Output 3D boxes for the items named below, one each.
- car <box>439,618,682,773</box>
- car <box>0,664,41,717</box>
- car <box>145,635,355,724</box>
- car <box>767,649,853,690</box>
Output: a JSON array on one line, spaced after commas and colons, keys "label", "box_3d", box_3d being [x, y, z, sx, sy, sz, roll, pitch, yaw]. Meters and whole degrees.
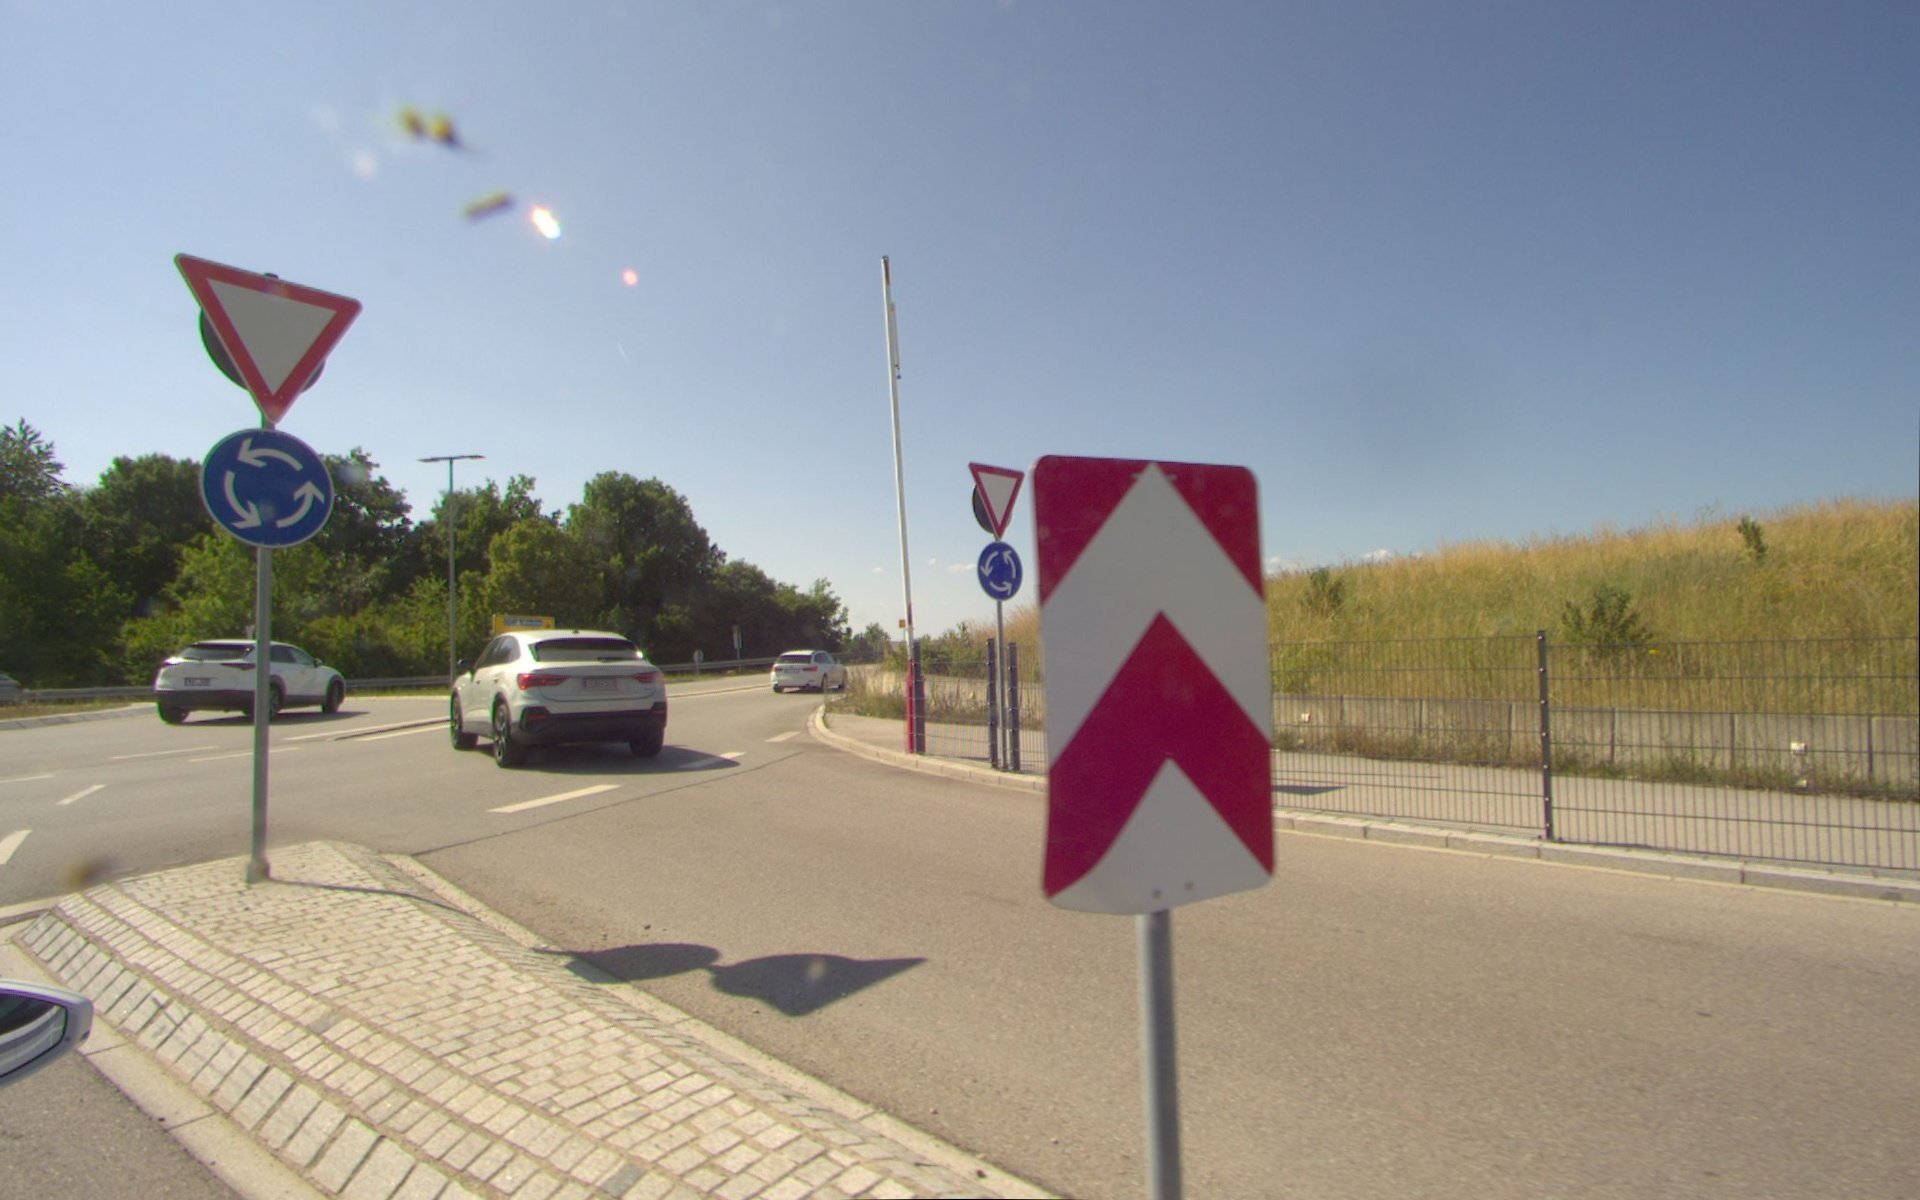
[{"label": "car", "box_3d": [-5.229, 1.085, 12.758, 1.825, 1.616, 4.294, 1, -2, -37]}, {"label": "car", "box_3d": [-31.380, 2.818, 31.211, 3.922, 1.616, 1.783, 0, -2, 3]}, {"label": "car", "box_3d": [-14.026, 1.517, 20.112, 1.758, 1.549, 4.288, -1, -2, -10]}, {"label": "car", "box_3d": [-5.271, 2.455, 35.778, 1.543, 1.368, 4.340, -1, -3, 13]}]
